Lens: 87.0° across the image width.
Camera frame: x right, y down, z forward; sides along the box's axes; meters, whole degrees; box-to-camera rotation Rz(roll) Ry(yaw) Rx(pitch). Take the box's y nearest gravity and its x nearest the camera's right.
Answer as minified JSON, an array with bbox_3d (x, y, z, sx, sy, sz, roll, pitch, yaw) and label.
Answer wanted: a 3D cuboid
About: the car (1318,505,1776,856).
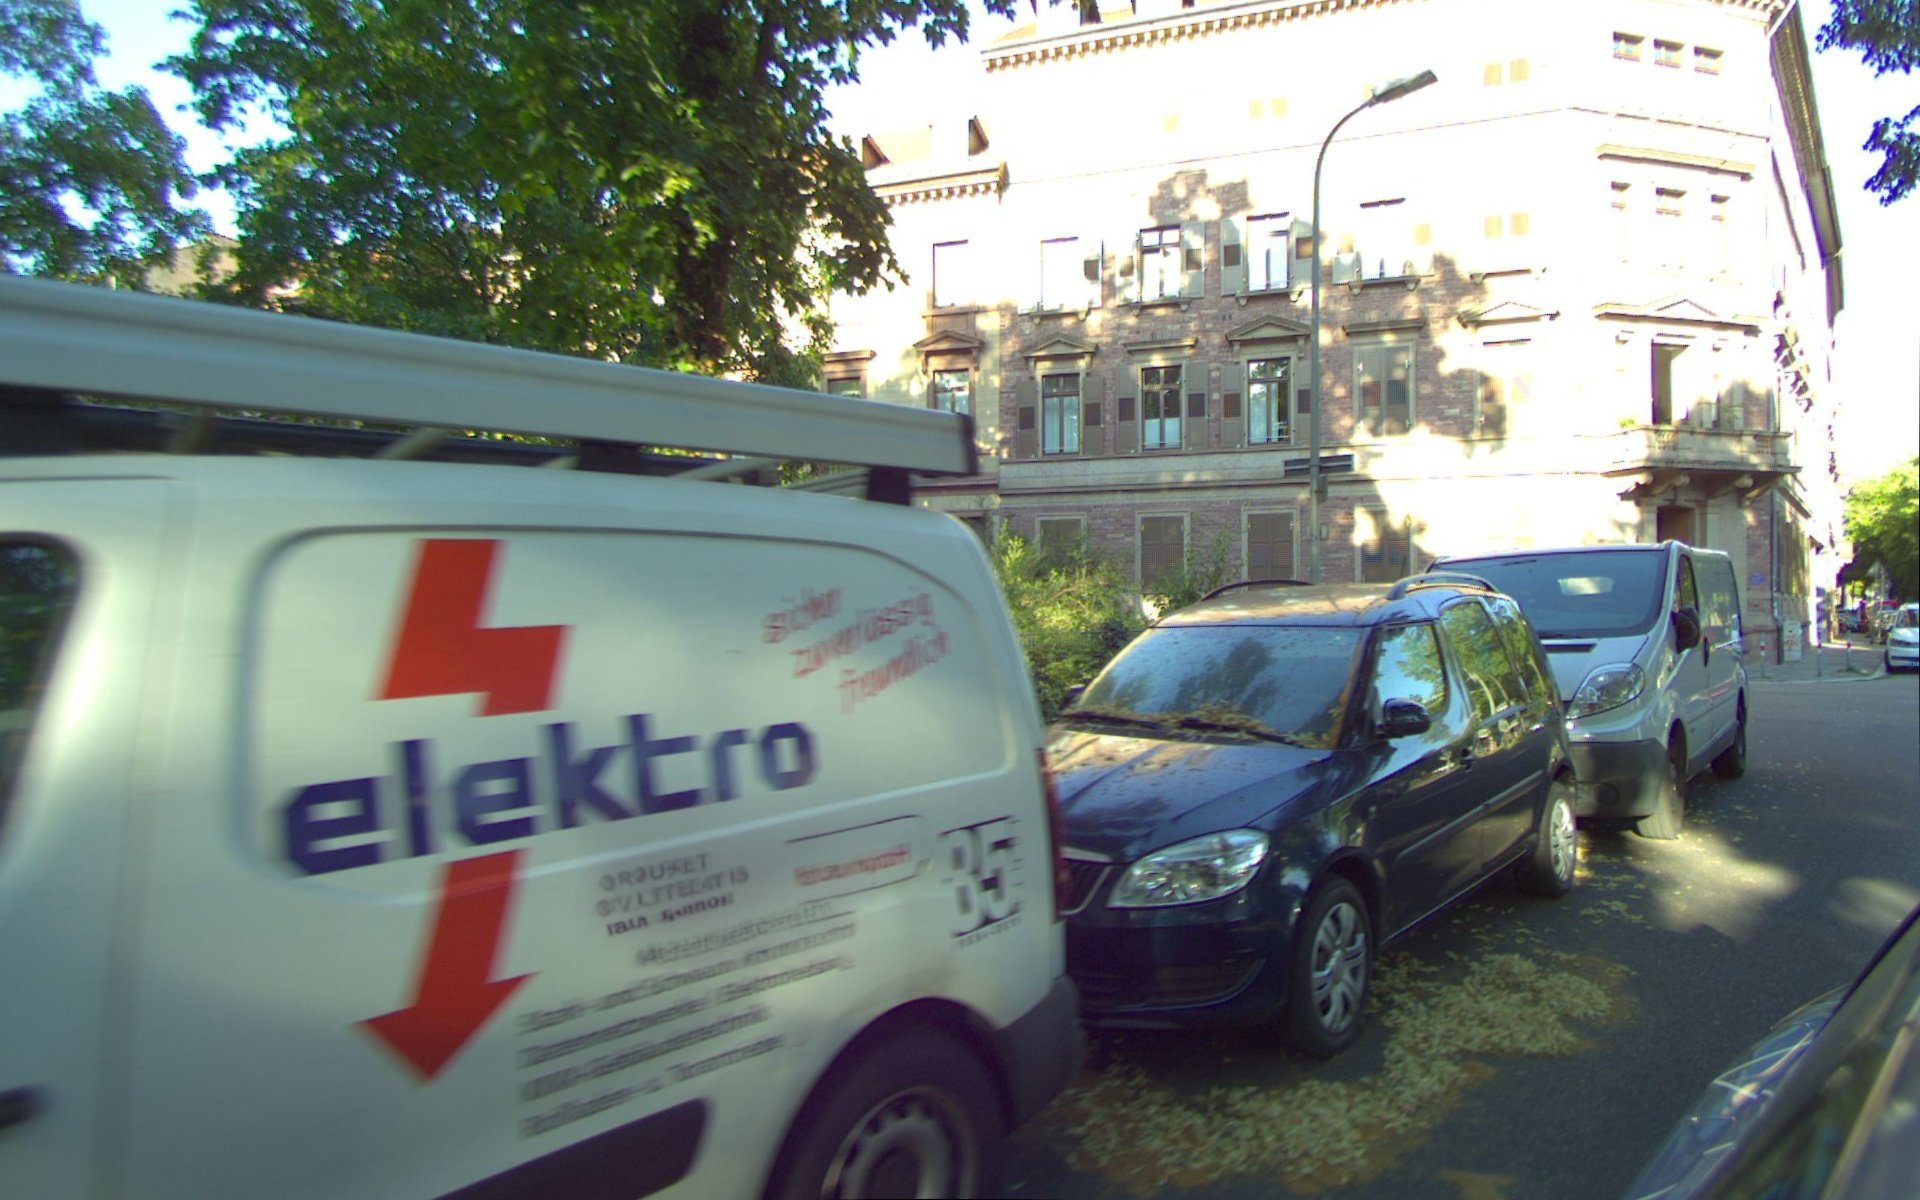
[{"bbox_3d":[5.067,0.452,8.268,1.966,1.960,5.368,-1,-1,45],"label":"car"}]

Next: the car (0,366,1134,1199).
[{"bbox_3d":[-1.781,0.609,1.672,4.301,1.729,1.789,0,-1,-41],"label":"car"}]

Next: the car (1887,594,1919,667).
[{"bbox_3d":[23.512,0.655,24.095,1.934,1.643,4.180,-5,-3,41],"label":"car"}]

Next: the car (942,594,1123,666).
[{"bbox_3d":[1.721,0.714,23.876,3.951,1.586,1.671,0,-3,21],"label":"car"}]

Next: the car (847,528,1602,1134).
[{"bbox_3d":[1.484,0.626,4.639,3.830,1.636,1.568,0,-1,-43],"label":"car"}]

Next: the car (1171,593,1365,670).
[{"bbox_3d":[6.760,0.699,22.273,3.951,1.586,1.671,0,-3,21],"label":"car"}]

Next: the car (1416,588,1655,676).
[{"bbox_3d":[11.508,0.651,20.555,3.951,1.669,1.671,0,-3,21],"label":"car"}]
